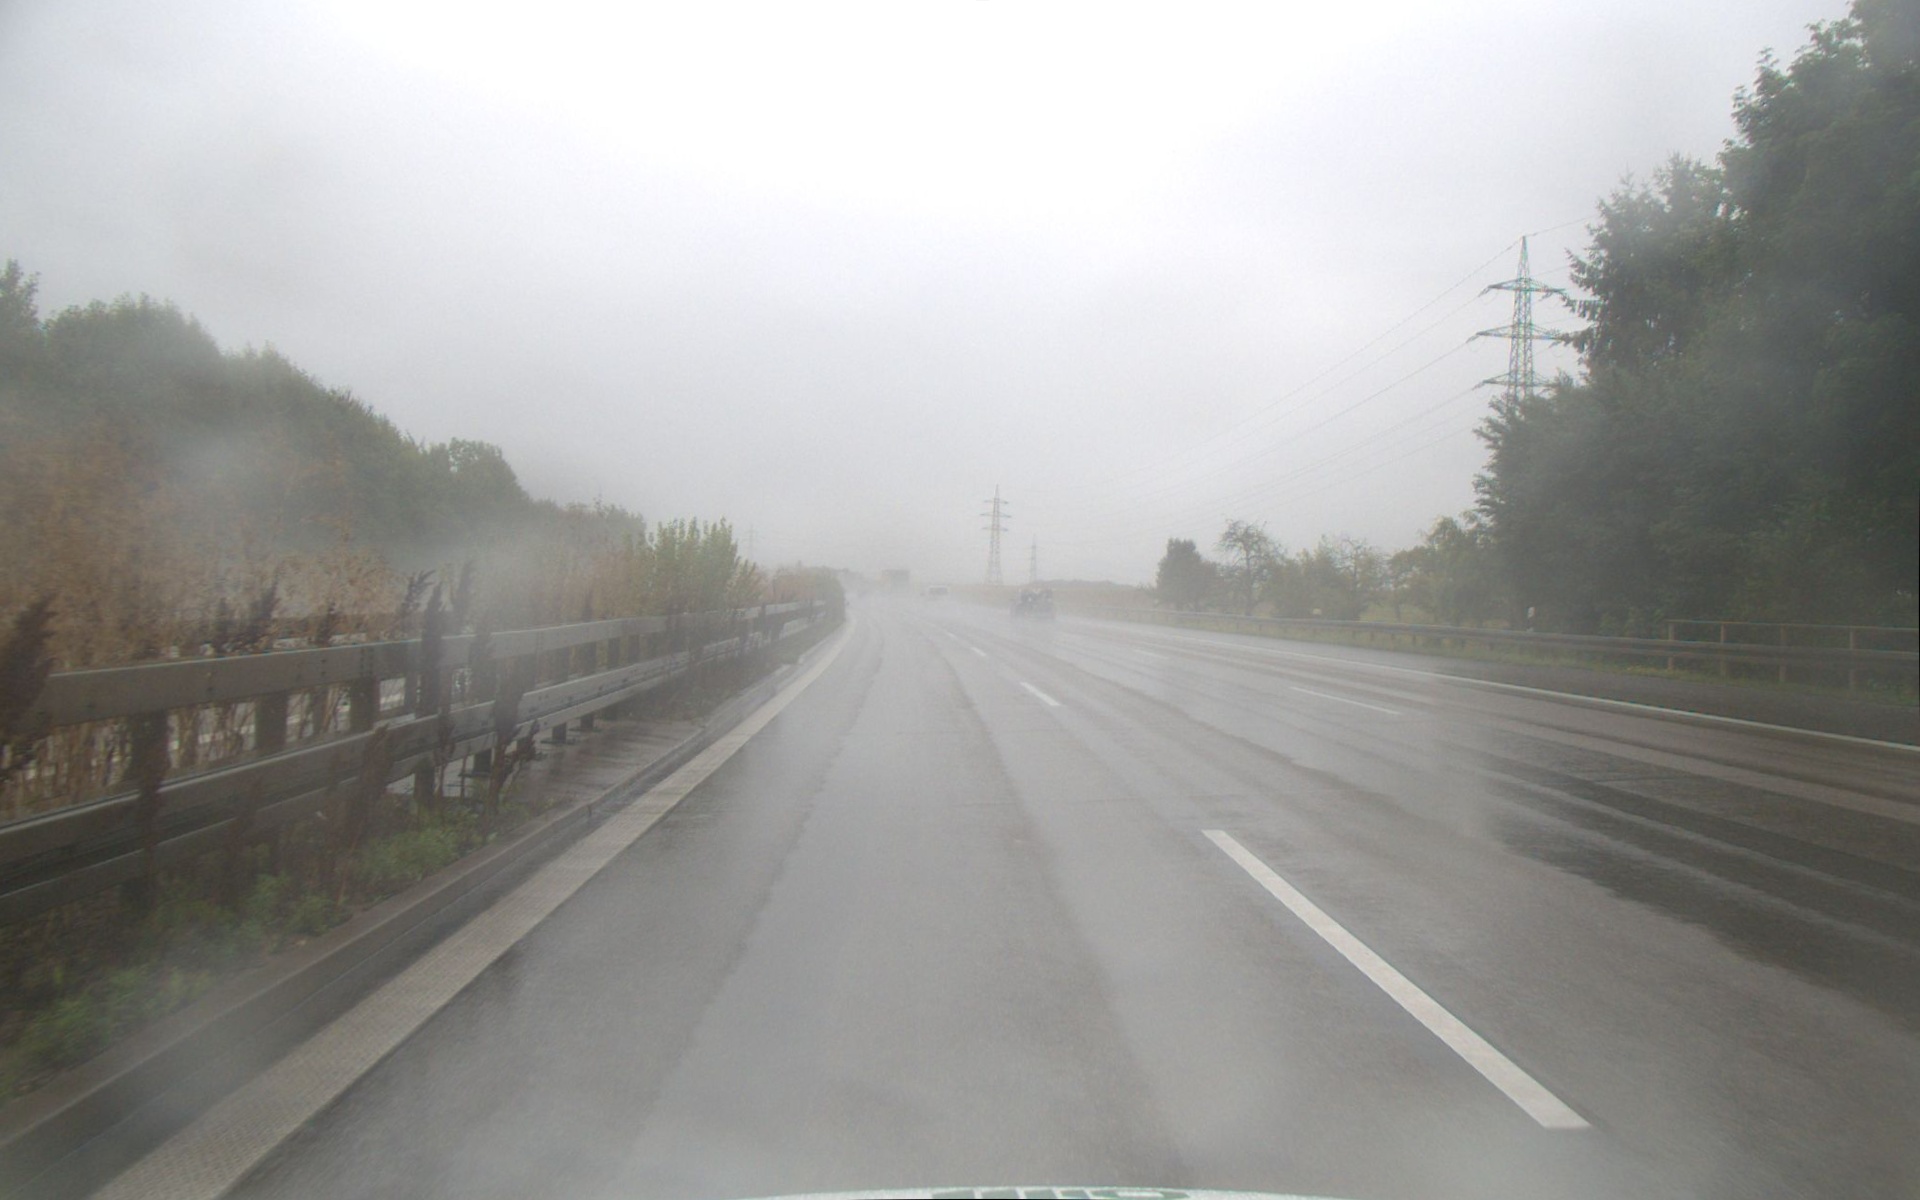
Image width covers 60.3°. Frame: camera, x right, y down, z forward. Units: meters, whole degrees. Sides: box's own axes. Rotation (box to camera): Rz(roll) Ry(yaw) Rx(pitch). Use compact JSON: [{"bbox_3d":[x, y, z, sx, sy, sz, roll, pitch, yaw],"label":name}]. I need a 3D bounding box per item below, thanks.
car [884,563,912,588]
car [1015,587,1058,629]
[{"bbox_3d":[-8.483,-3.307,225.719,3.140,3.248,7.244,1,0,-8],"label":"car"},{"bbox_3d":[4.131,0.422,89.590,1.772,2.196,3.996,1,0,-5],"label":"car"}]
